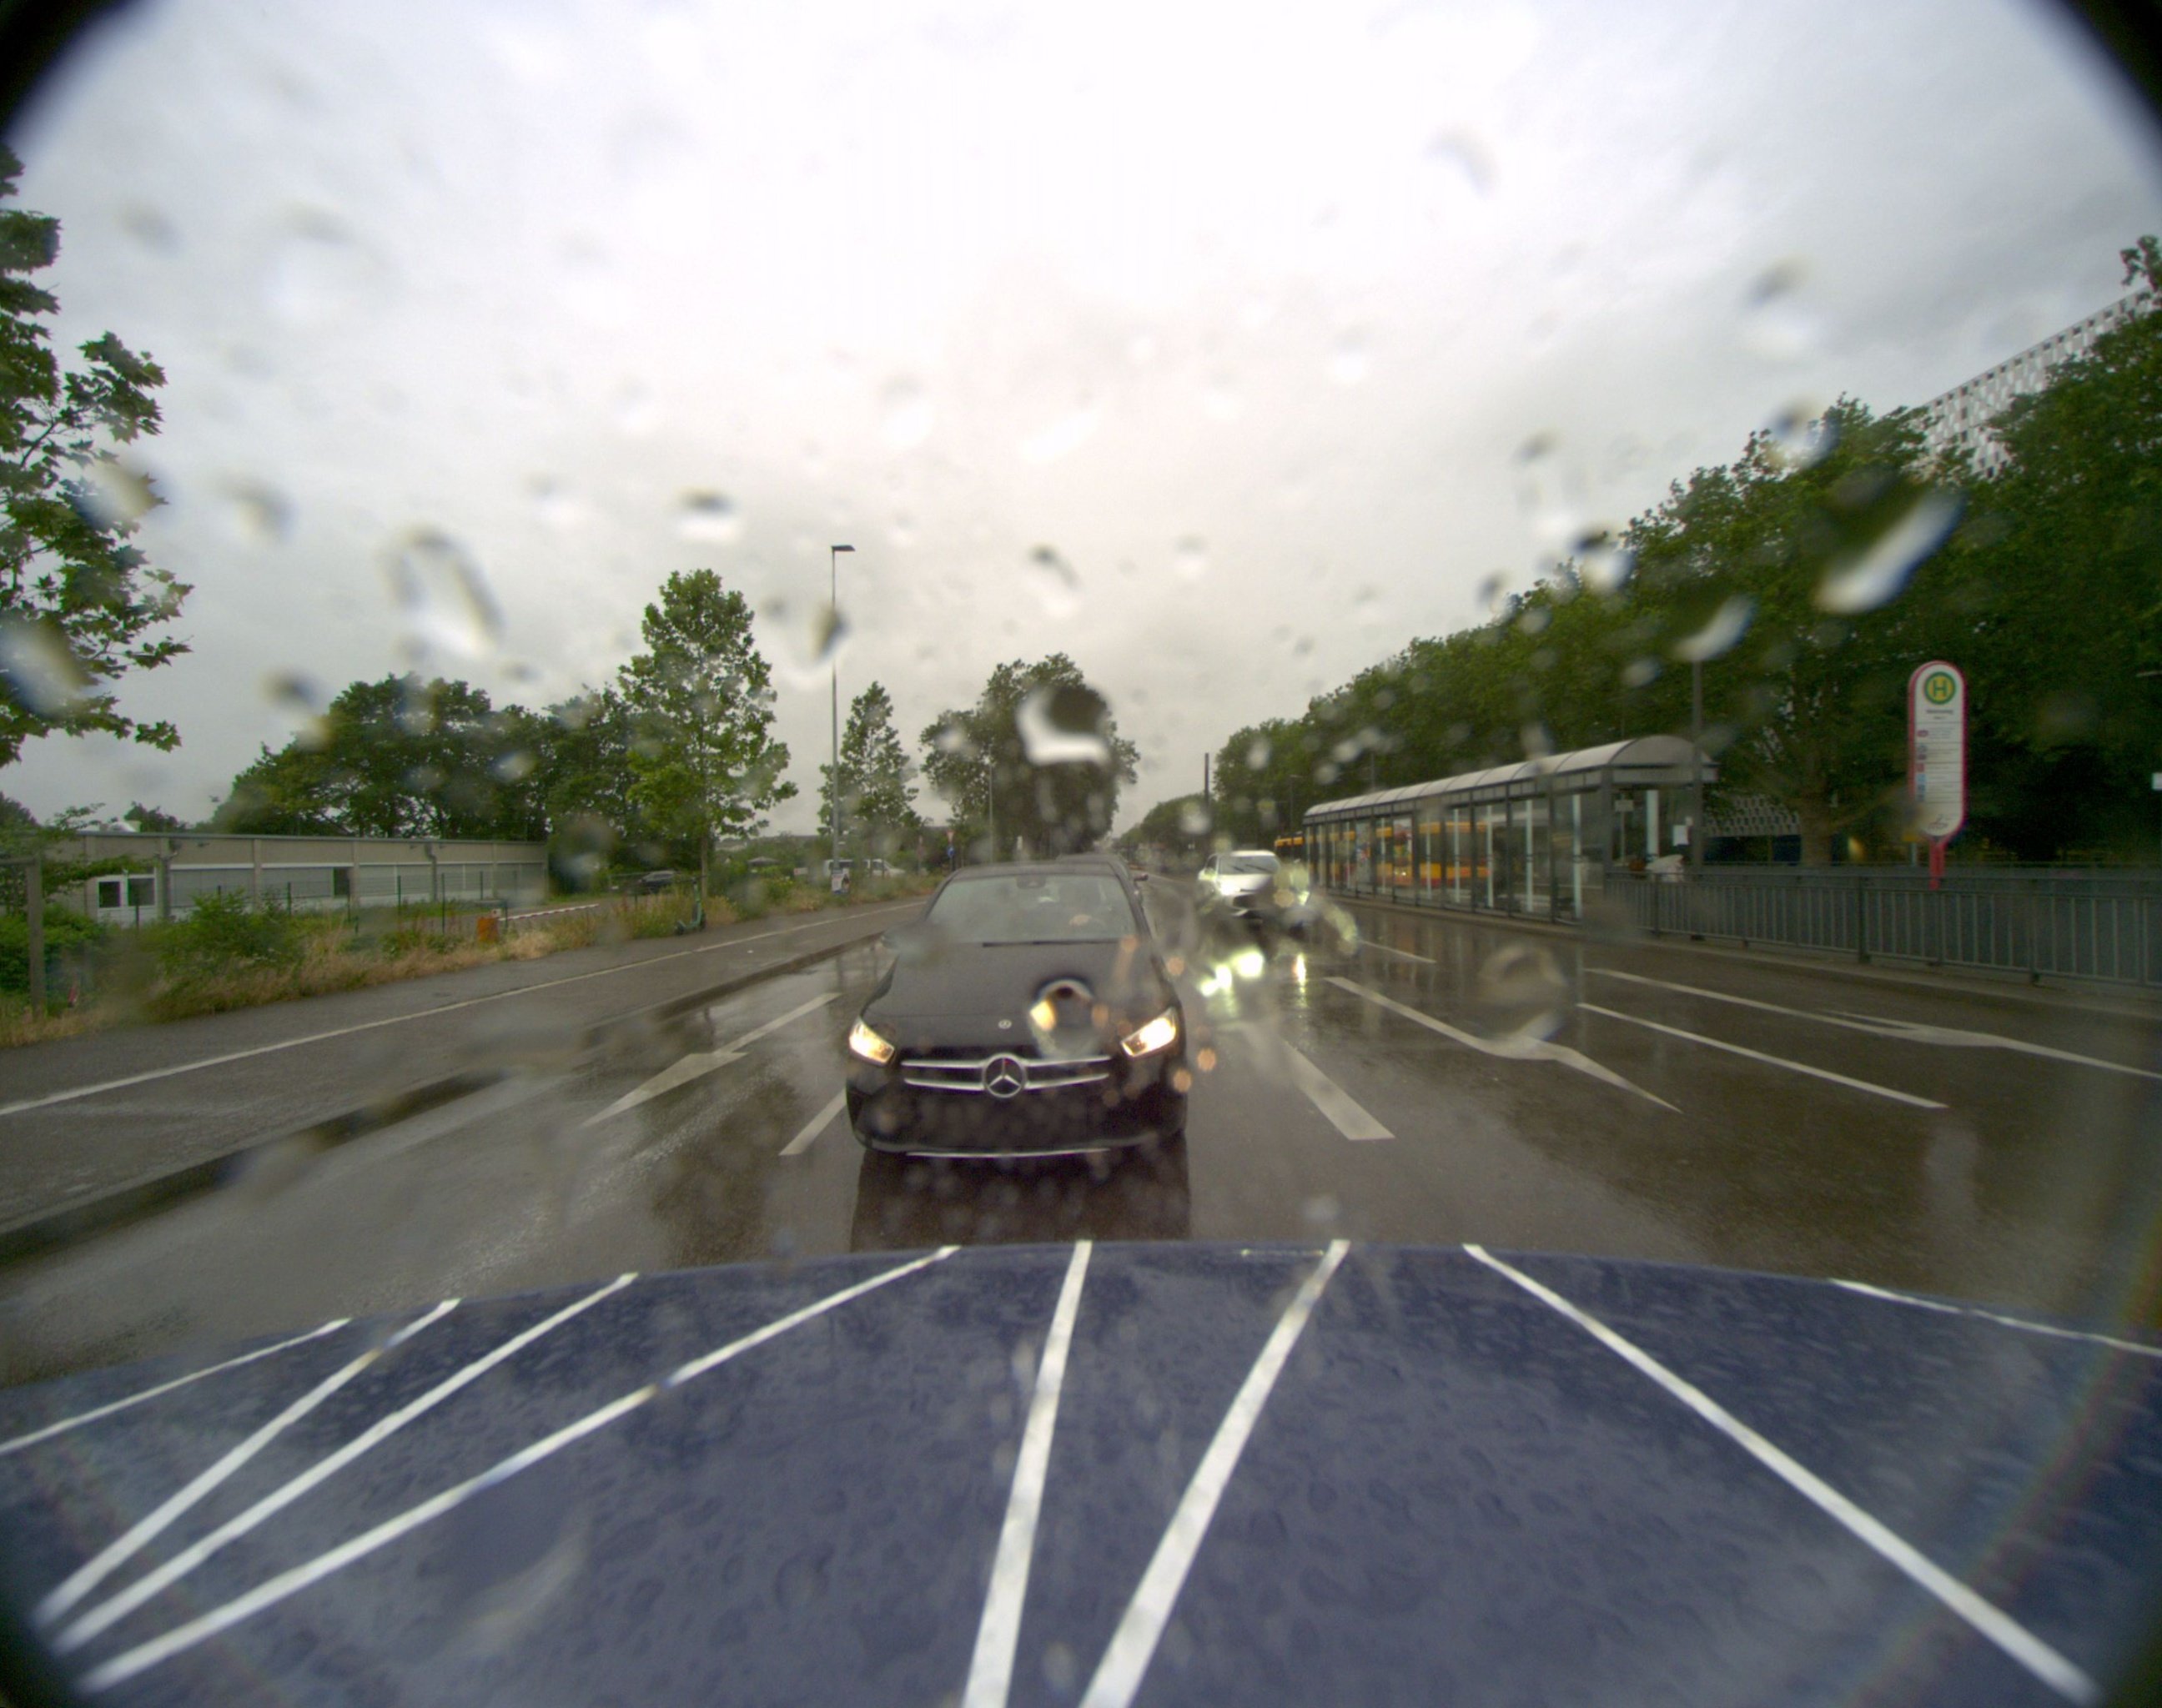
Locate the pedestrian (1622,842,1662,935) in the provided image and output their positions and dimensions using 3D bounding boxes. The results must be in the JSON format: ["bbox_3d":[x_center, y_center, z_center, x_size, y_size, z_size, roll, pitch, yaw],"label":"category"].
[{"bbox_3d":[9.186,0.556,12.444,0.321,1.485,0.415,-3,2,6],"label":"pedestrian"}]

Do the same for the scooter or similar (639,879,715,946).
[{"bbox_3d":[-8.190,1.157,15.484,0.367,1.192,1.913,-2,1,4],"label":"scooter or similar"}]

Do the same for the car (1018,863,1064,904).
[{"bbox_3d":[-1.562,1.160,30.932,1.557,1.500,3.618,-2,0,2],"label":"car"}]

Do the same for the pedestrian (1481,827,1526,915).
[{"bbox_3d":[9.242,0.359,16.646,0.655,1.860,0.773,-2,1,17],"label":"pedestrian"}]

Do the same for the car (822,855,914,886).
[{"bbox_3d":[-13.444,1.026,48.163,5.174,1.715,2.006,-3,1,-1],"label":"car"}]

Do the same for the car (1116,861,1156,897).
[{"bbox_3d":[2.593,1.164,36.415,1.557,1.541,3.717,-3,0,0],"label":"car"}]

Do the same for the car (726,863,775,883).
[{"bbox_3d":[-28.231,1.623,65.020,3.552,1.574,1.345,-3,1,6],"label":"car"}]

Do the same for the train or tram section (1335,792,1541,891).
[{"bbox_3d":[16.619,-0.543,37.314,3.751,3.817,13.253,-3,0,0],"label":"train or tram section"}]

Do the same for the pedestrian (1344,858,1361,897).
[{"bbox_3d":[8.763,0.753,24.546,0.458,1.229,0.467,-2,2,15],"label":"pedestrian"}]

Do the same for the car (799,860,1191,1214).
[{"bbox_3d":[-0.214,0.862,5.537,1.758,1.572,4.171,-2,0,5],"label":"car"}]

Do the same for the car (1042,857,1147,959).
[{"bbox_3d":[0.273,0.884,14.297,1.689,1.611,4.000,-1,0,2],"label":"car"}]

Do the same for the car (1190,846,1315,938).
[{"bbox_3d":[3.780,0.745,17.560,1.935,1.765,4.664,-3,0,2],"label":"car"}]

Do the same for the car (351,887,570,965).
[{"bbox_3d":[-12.028,1.377,14.823,3.243,1.281,1.345,-3,1,6],"label":"car"}]

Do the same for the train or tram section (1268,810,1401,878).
[{"bbox_3d":[16.595,-0.646,51.768,3.751,3.777,15.569,-3,0,0],"label":"train or tram section"}]
